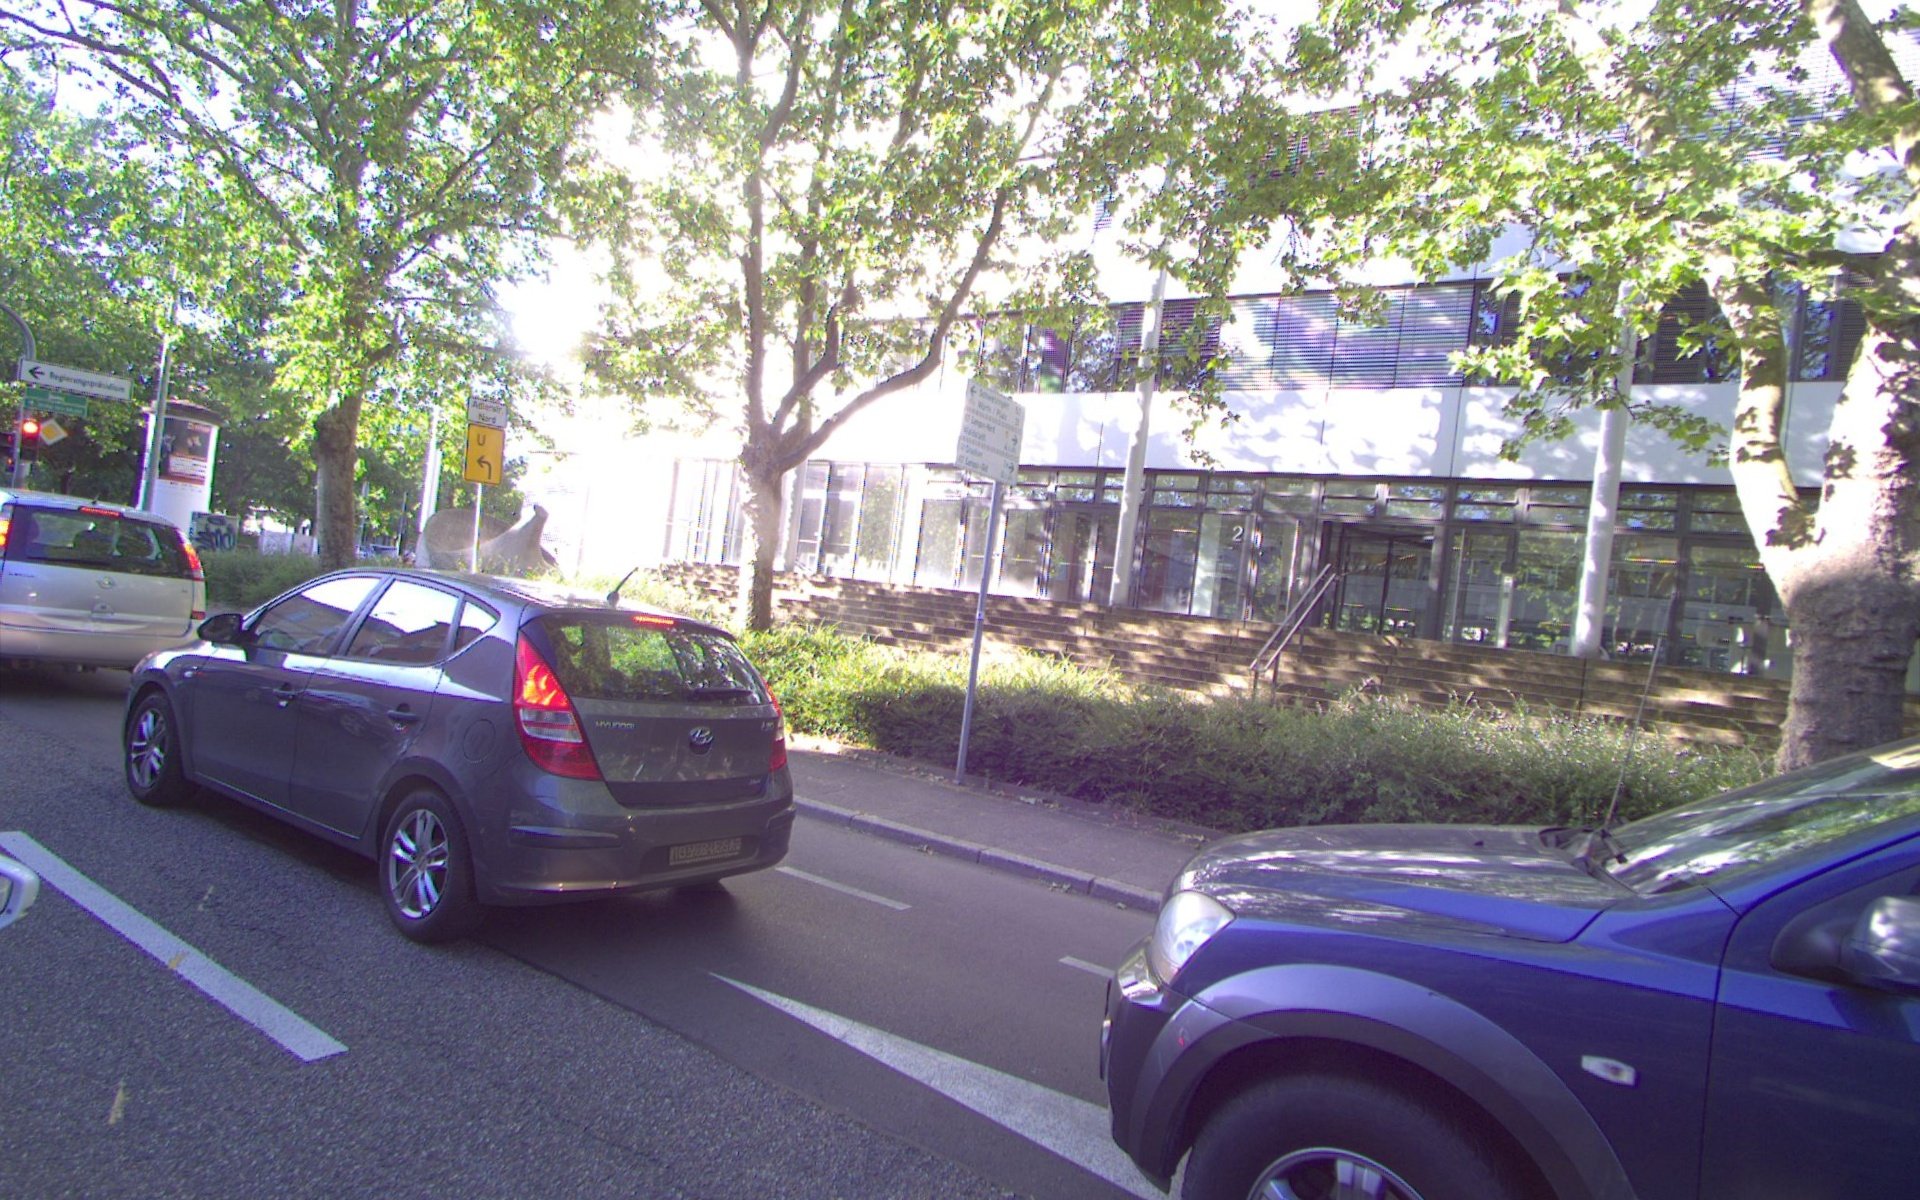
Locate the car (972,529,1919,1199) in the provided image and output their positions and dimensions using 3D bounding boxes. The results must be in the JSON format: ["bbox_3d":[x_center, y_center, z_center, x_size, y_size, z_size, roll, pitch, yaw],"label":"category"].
[{"bbox_3d":[2.393,1.029,2.019,4.313,1.790,1.784,7,-3,33],"label":"car"}]

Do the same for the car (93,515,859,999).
[{"bbox_3d":[-2.656,0.542,5.269,3.910,1.499,1.647,7,-1,32],"label":"car"}]

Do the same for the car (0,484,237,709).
[{"bbox_3d":[-8.394,-0.151,9.039,3.797,1.620,1.705,7,-3,34],"label":"car"}]

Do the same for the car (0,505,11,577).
[{"bbox_3d":[-14.070,-0.741,12.623,4.592,1.481,1.917,7,-2,32],"label":"car"}]
